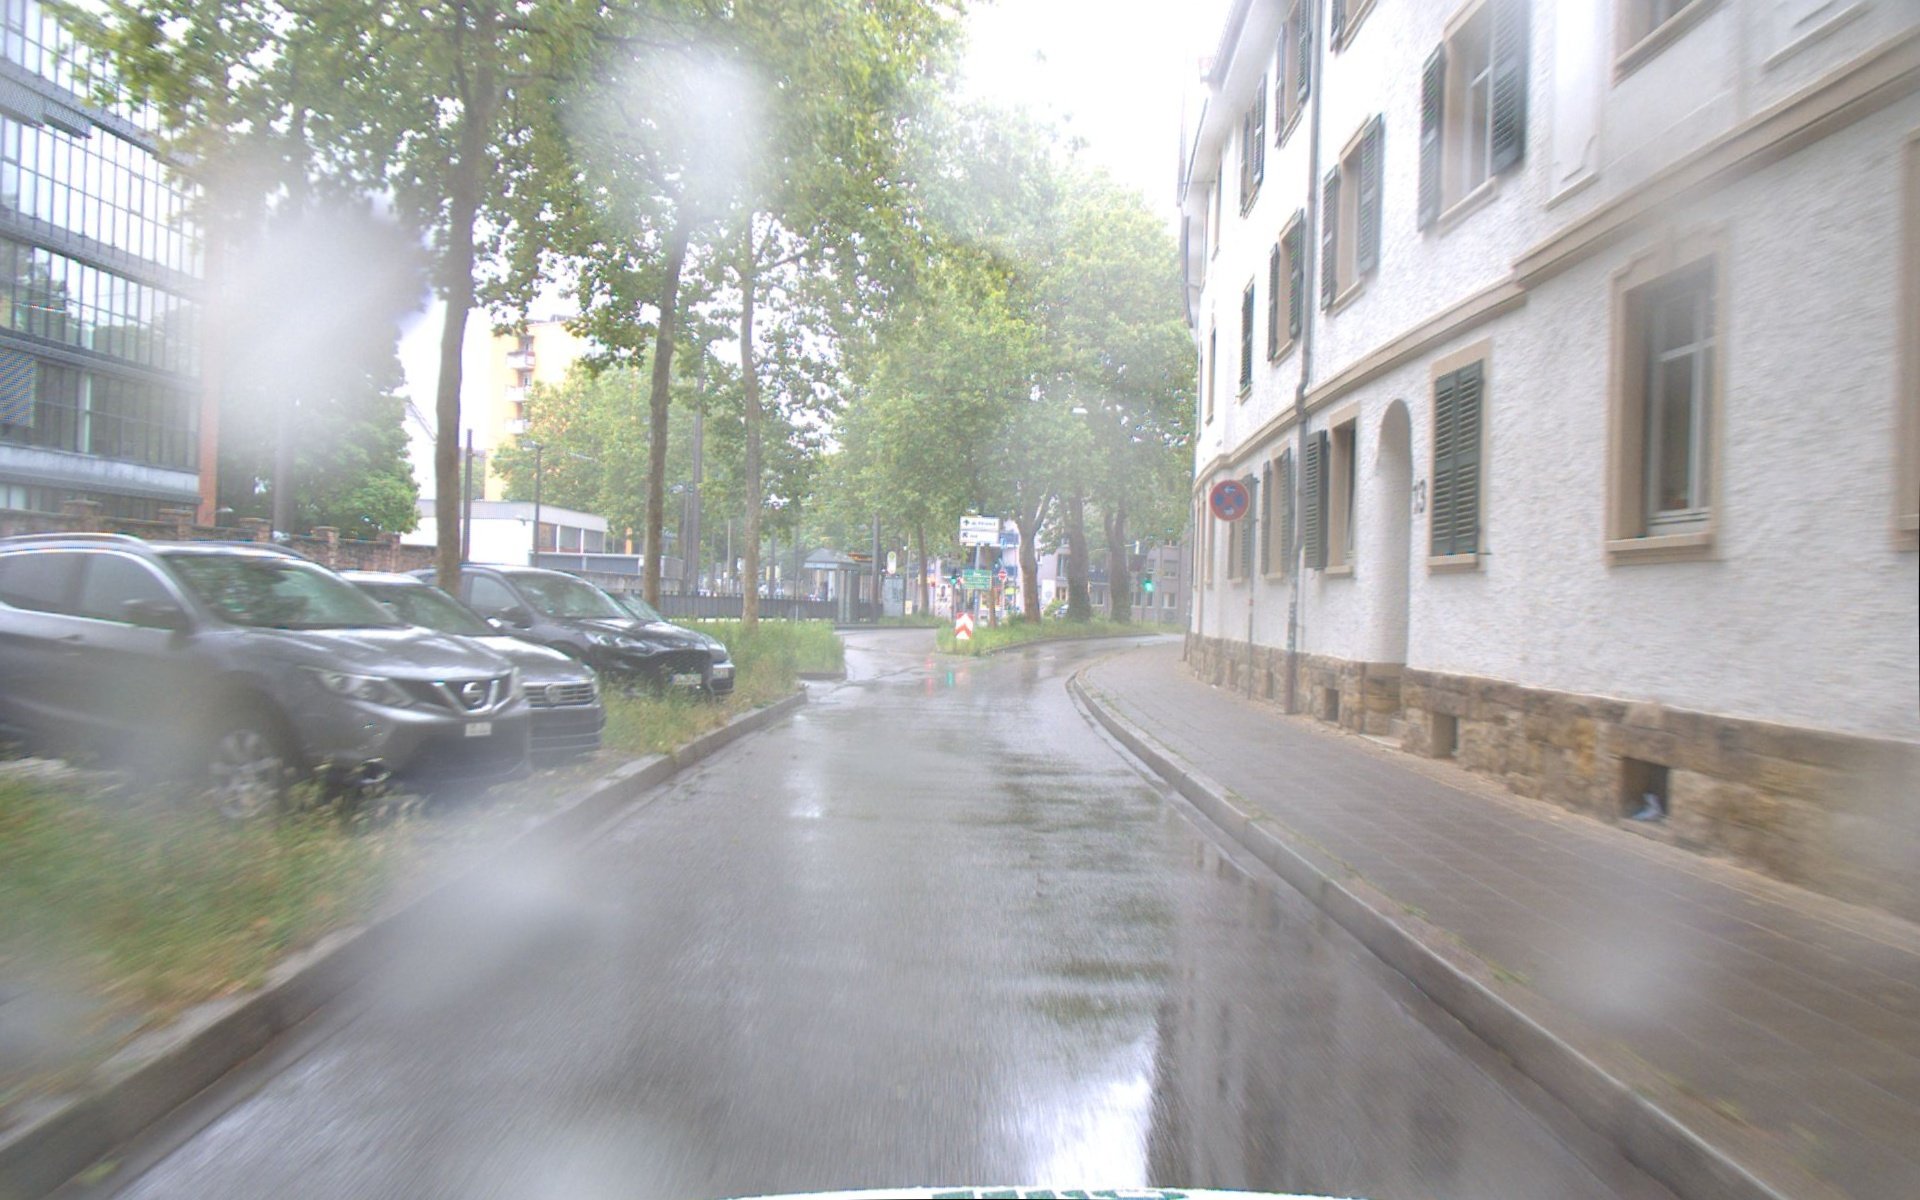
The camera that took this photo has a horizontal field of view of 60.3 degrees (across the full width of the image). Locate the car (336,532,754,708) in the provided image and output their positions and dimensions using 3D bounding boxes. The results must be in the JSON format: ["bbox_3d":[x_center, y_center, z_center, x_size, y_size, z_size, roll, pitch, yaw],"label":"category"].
[{"bbox_3d":[-4.656,0.160,18.422,4.433,1.744,1.957,1,1,30],"label":"car"}]

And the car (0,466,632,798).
[{"bbox_3d":[-4.394,0.096,10.048,4.371,1.625,1.922,3,0,25],"label":"car"}]

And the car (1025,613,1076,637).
[{"bbox_3d":[7.494,2.085,136.842,3.968,1.625,1.968,5,-2,-44],"label":"car"}]

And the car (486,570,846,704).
[{"bbox_3d":[-3.763,0.400,21.035,4.269,1.539,1.957,1,1,30],"label":"car"}]

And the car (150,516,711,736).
[{"bbox_3d":[-4.408,0.168,13.598,4.462,1.547,1.919,1,-1,31],"label":"car"}]
